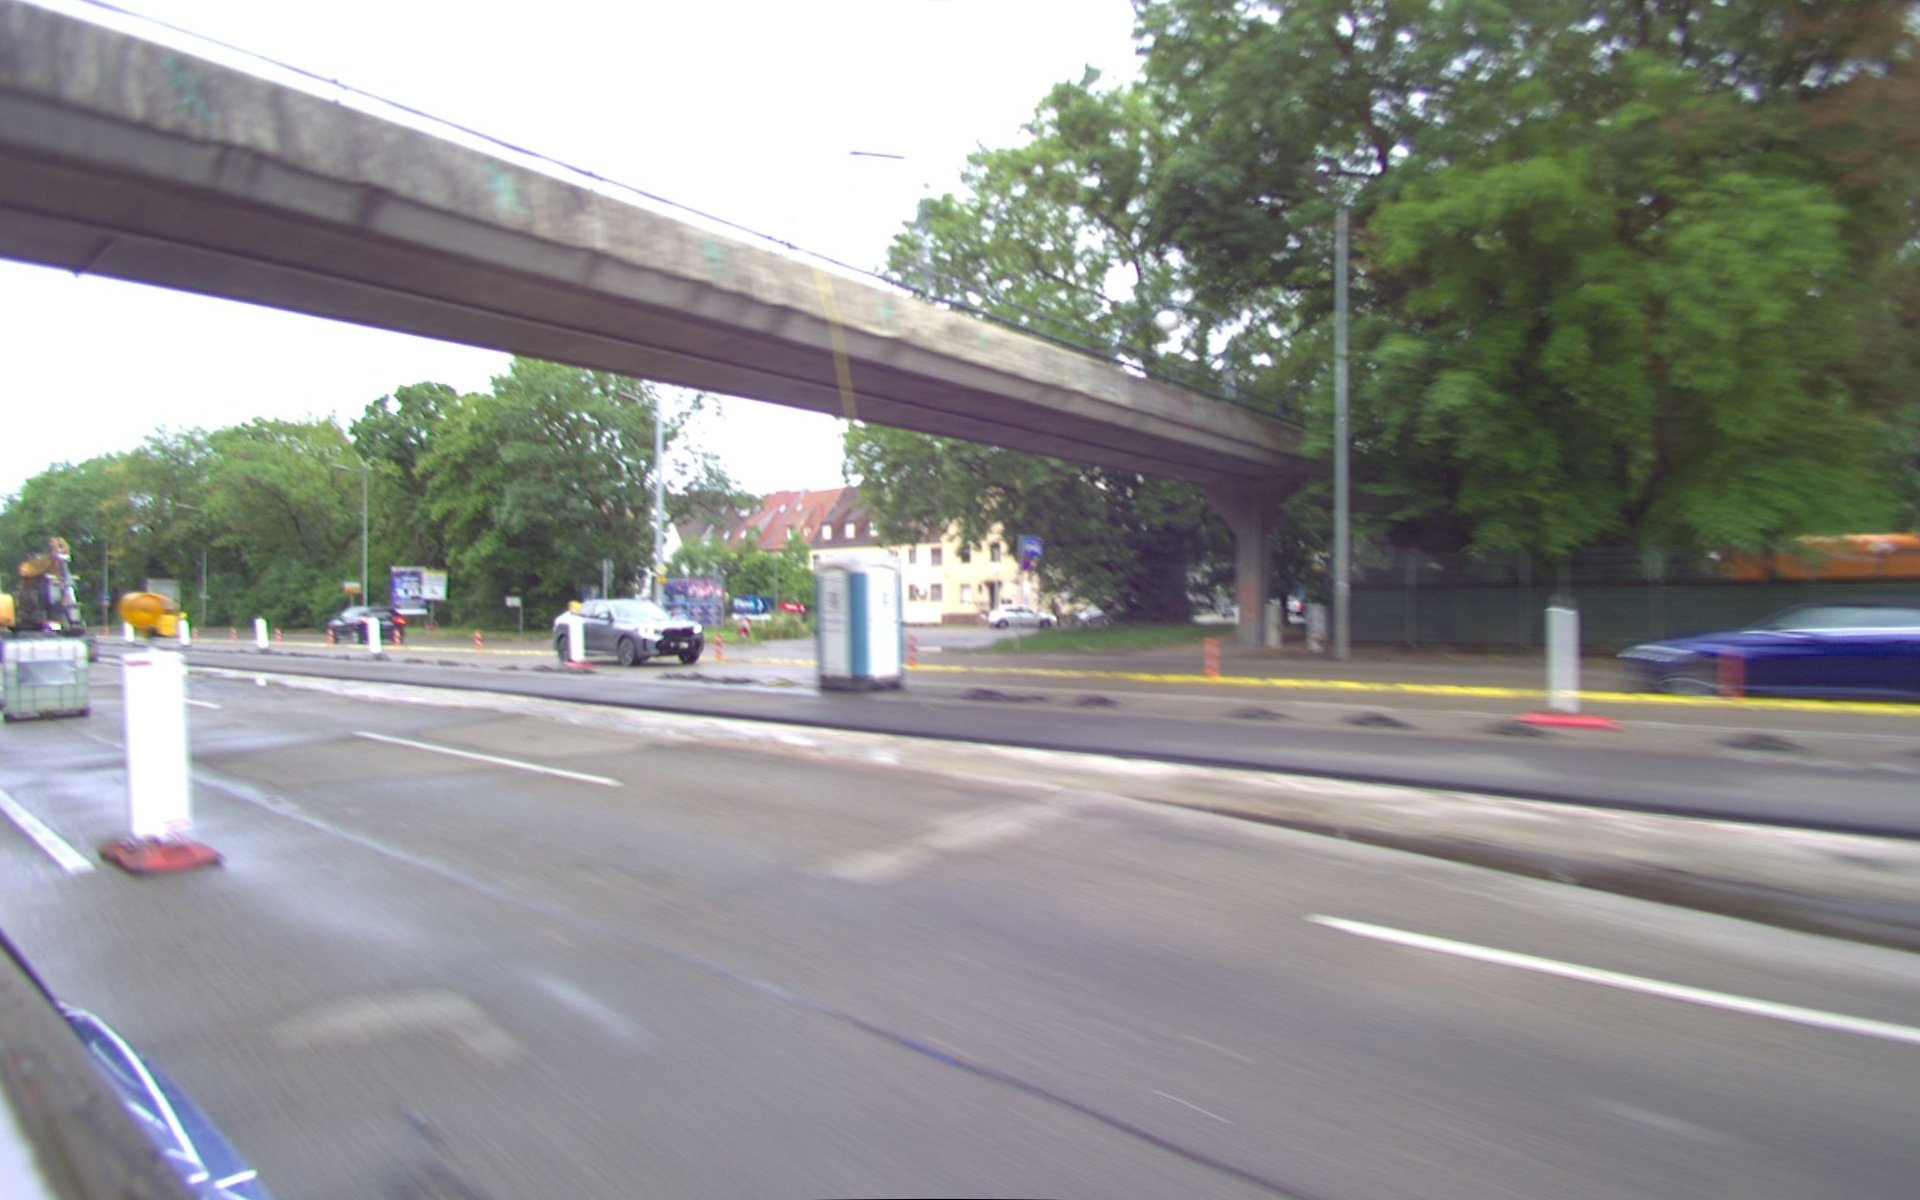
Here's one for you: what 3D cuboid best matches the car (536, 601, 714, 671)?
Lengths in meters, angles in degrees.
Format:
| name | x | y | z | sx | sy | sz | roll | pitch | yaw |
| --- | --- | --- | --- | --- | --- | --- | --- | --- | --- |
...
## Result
| name | x | y | z | sx | sy | sz | roll | pitch | yaw |
| --- | --- | --- | --- | --- | --- | --- | --- | --- | --- |
| car | -8.740 | 0.860 | 26.190 | 5.052 | 1.625 | 2.055 | -1 | 0 | 40 |

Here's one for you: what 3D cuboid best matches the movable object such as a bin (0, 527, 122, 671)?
| name | x | y | z | sx | sy | sz | roll | pitch | yaw |
| --- | --- | --- | --- | --- | --- | --- | --- | --- | --- |
| movable object such as a bin | -33.296 | 0.008 | 36.193 | 10.064 | 4.555 | 3.481 | -1 | 0 | 41 |

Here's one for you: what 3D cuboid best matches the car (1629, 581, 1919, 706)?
| name | x | y | z | sx | sy | sz | roll | pitch | yaw |
| --- | --- | --- | --- | --- | --- | --- | --- | --- | --- |
| car | 11.593 | 0.509 | 12.946 | 4.880 | 1.470 | 1.973 | -1 | 0 | 40 |

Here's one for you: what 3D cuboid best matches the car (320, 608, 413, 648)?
| name | x | y | z | sx | sy | sz | roll | pitch | yaw |
| --- | --- | --- | --- | --- | --- | --- | --- | --- | --- |
| car | -27.719 | 1.277 | 47.196 | 5.052 | 1.752 | 2.193 | -1 | 0 | 40 |

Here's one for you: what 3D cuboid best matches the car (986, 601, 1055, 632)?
| name | x | y | z | sx | sy | sz | roll | pitch | yaw |
| --- | --- | --- | --- | --- | --- | --- | --- | --- | --- |
| car | 3.668 | 0.997 | 61.889 | 4.167 | 1.763 | 1.999 | -1 | 0 | 2 |
